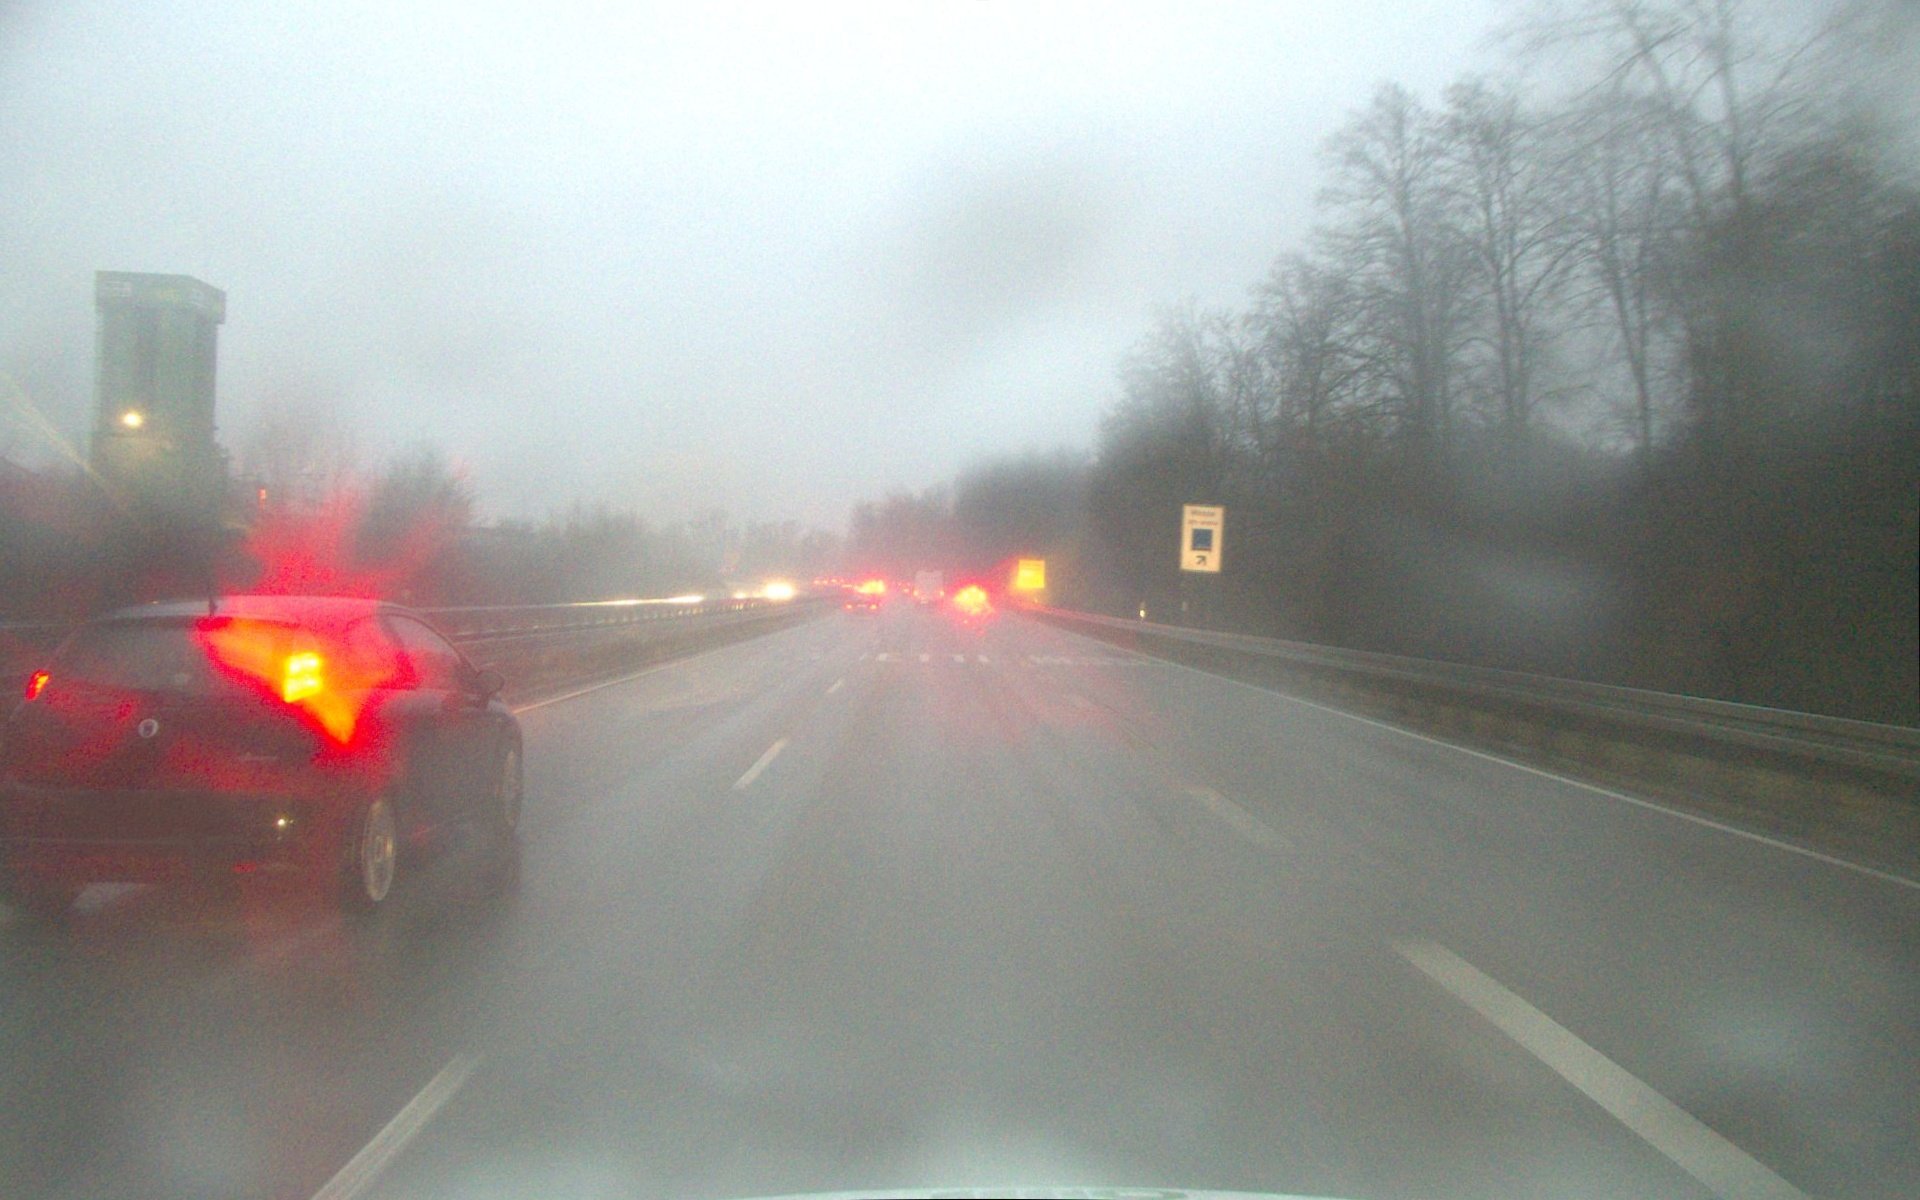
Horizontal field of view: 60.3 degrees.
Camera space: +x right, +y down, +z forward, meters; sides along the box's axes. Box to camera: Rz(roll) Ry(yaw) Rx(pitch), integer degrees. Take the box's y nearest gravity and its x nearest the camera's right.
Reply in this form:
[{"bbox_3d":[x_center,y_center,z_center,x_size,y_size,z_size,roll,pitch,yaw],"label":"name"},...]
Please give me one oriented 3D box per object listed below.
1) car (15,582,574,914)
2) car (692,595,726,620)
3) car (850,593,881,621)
[{"bbox_3d":[-3.410,0.665,9.328,1.593,1.416,3.998,2,0,-2],"label":"car"},{"bbox_3d":[-15.460,0.439,102.068,1.582,1.490,3.644,1,0,-1],"label":"car"},{"bbox_3d":[-4.794,0.323,83.932,1.387,1.340,3.082,2,0,-1],"label":"car"}]
